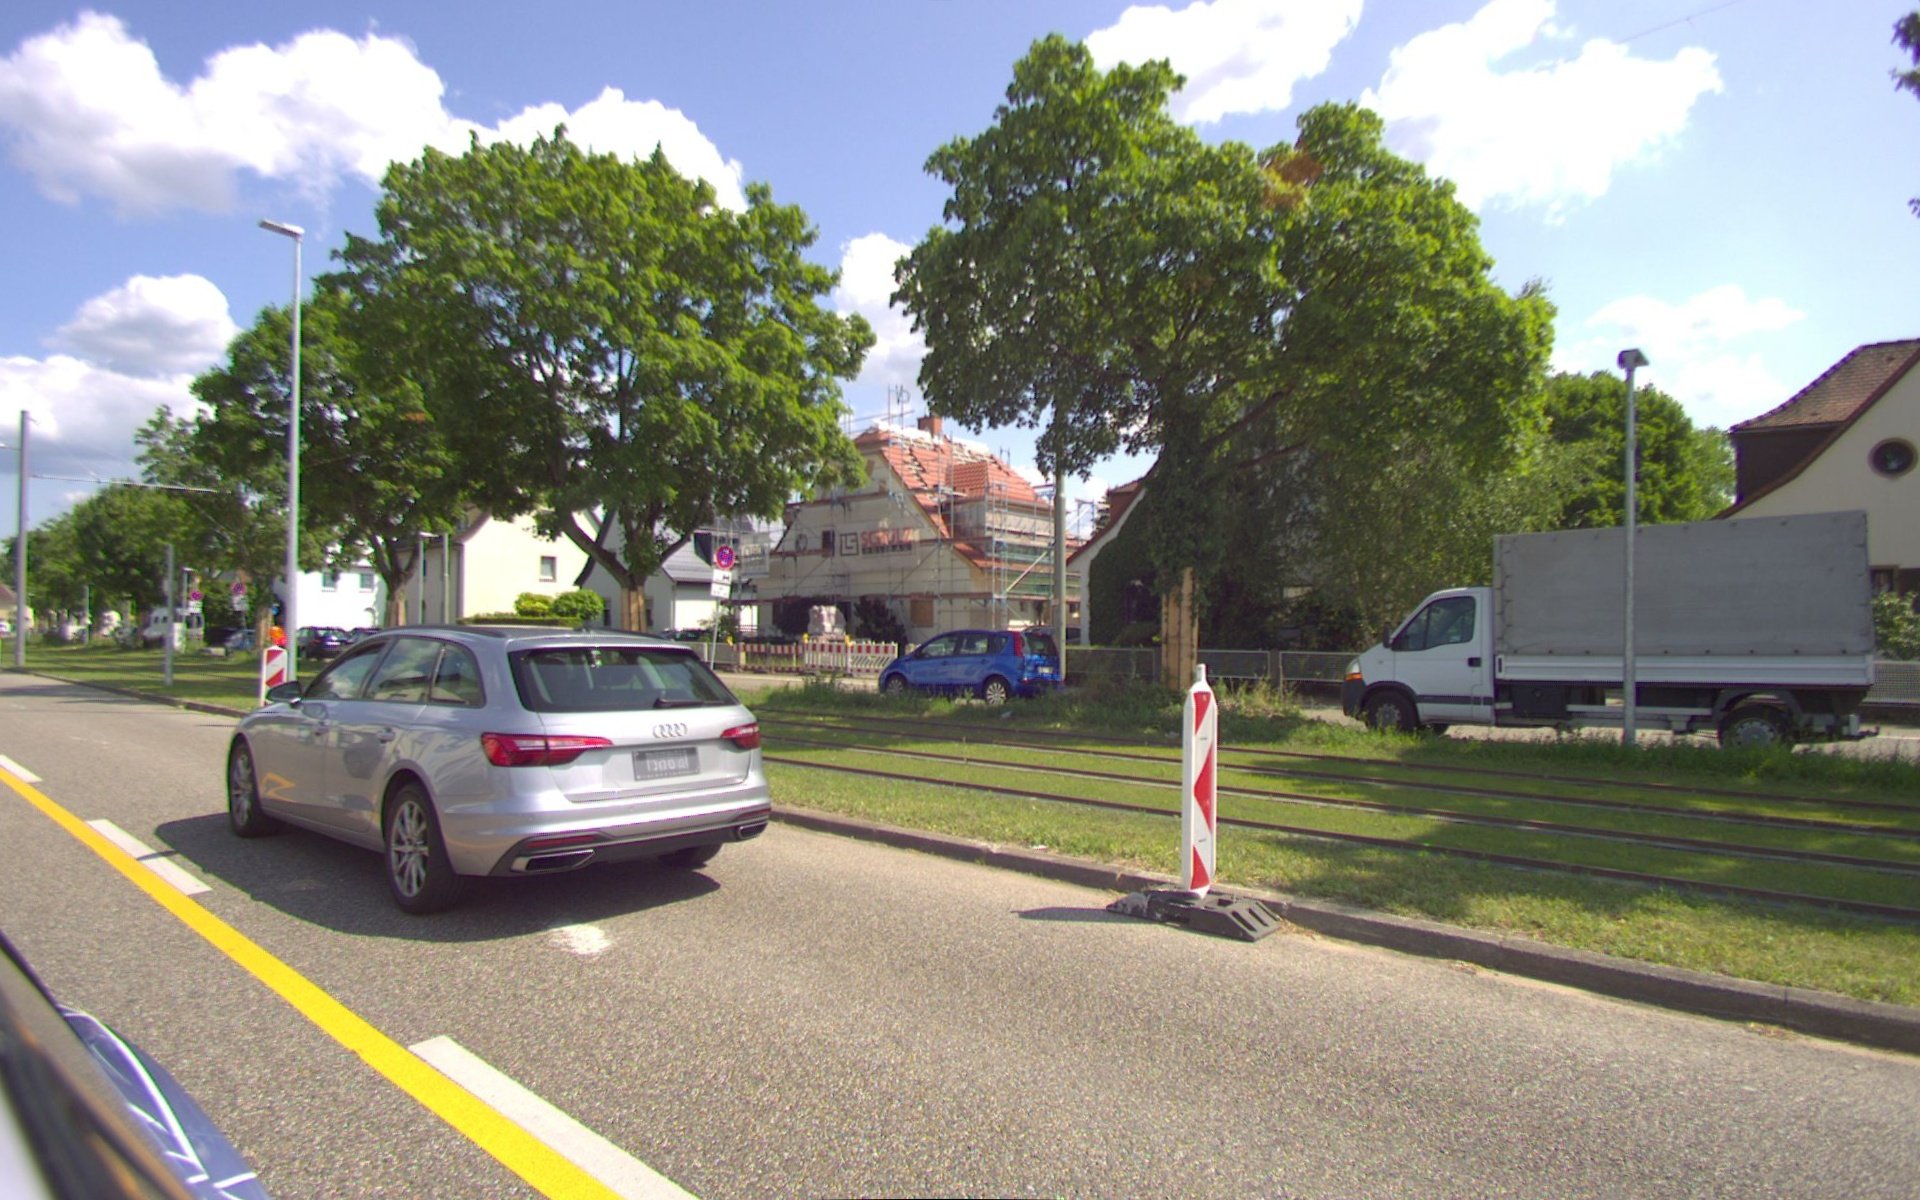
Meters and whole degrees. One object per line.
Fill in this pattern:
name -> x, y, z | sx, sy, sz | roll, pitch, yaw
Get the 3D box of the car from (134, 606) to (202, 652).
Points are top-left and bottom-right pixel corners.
car -> -50.478, 1.874, 64.454 | 6.455, 2.751, 1.974 | -2, -3, 39

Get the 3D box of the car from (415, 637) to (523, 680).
car -> -17.258, 2.037, 35.517 | 3.850, 1.328, 1.973 | -1, -5, 41

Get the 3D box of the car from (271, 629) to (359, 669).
car -> -29.558, 2.202, 46.340 | 4.385, 1.704, 1.974 | -1, -3, 38

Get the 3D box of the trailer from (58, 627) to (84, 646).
trailer -> -76.231, 3.133, 86.789 | 2.281, 1.530, 1.286 | -1, -3, 41

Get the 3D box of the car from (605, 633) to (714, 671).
car -> -12.630, 2.159, 42.689 | 1.981, 1.412, 3.945 | -1, -1, 41

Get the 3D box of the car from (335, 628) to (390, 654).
car -> -38.708, 2.662, 65.517 | 3.998, 1.589, 1.883 | -1, -3, 41

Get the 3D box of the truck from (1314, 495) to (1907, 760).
truck -> 8.152, 0.442, 13.436 | 6.272, 2.789, 1.973 | -2, -6, 41

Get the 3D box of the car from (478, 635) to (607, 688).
car -> -13.318, 1.908, 32.129 | 4.937, 1.494, 1.786 | -1, -3, 42

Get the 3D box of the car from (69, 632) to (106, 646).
car -> -71.939, 3.205, 83.430 | 3.834, 1.101, 1.762 | -1, -3, 41

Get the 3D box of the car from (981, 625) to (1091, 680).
car -> 2.578, 1.739, 33.735 | 1.872, 1.697, 3.610 | -1, -3, 40

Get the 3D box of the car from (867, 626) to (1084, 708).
car -> 0.265, 1.284, 20.323 | 3.996, 1.464, 1.974 | -1, -3, 39

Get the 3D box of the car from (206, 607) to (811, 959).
car -> -2.988, 0.840, 6.231 | 4.298, 1.458, 1.638 | -2, -3, 39

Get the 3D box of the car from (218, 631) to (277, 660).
car -> -37.191, 2.367, 52.799 | 3.889, 1.447, 1.734 | -1, -3, 43

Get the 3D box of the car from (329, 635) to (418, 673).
car -> -24.527, 2.250, 42.288 | 3.998, 1.450, 1.973 | -1, -4, 41
